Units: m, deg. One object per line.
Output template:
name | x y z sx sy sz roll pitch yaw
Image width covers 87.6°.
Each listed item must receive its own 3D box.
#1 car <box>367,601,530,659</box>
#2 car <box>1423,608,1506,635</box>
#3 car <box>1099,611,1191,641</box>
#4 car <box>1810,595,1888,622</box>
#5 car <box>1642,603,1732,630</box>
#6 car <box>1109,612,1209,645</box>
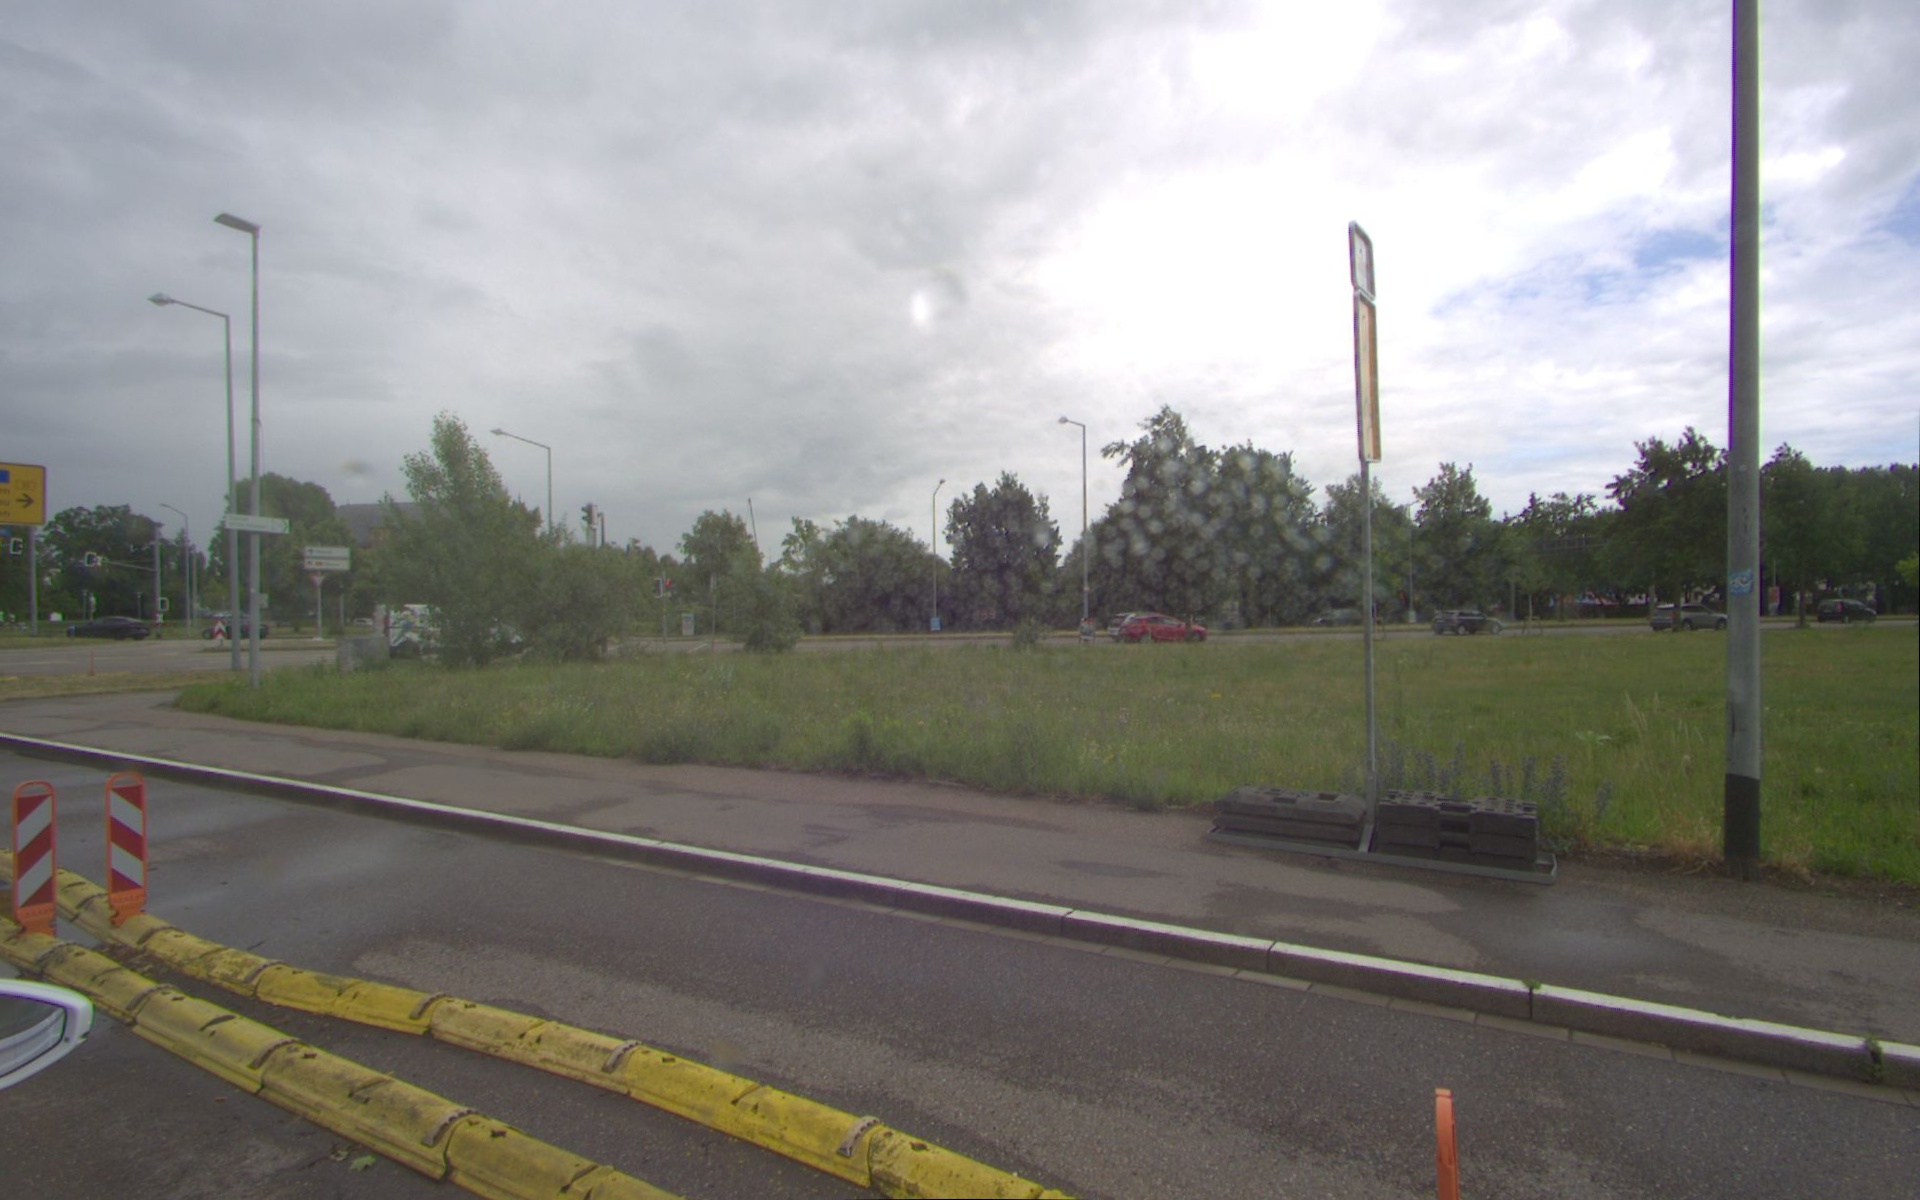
car | -18.022 0.996 35.410 4.794 1.925 2.081 0 0 -40
car | 29.161 1.232 57.874 4.250 1.483 1.994 0 0 -22
car | 9.479 1.326 51.499 4.279 1.483 1.858 0 0 -16
car | 61.624 0.590 69.453 4.131 1.837 2.075 0 0 -13
car | 41.394 0.947 57.033 4.243 1.483 1.909 0 0 -15
car | 9.514 1.347 47.995 4.278 1.483 1.997 0 0 -15
